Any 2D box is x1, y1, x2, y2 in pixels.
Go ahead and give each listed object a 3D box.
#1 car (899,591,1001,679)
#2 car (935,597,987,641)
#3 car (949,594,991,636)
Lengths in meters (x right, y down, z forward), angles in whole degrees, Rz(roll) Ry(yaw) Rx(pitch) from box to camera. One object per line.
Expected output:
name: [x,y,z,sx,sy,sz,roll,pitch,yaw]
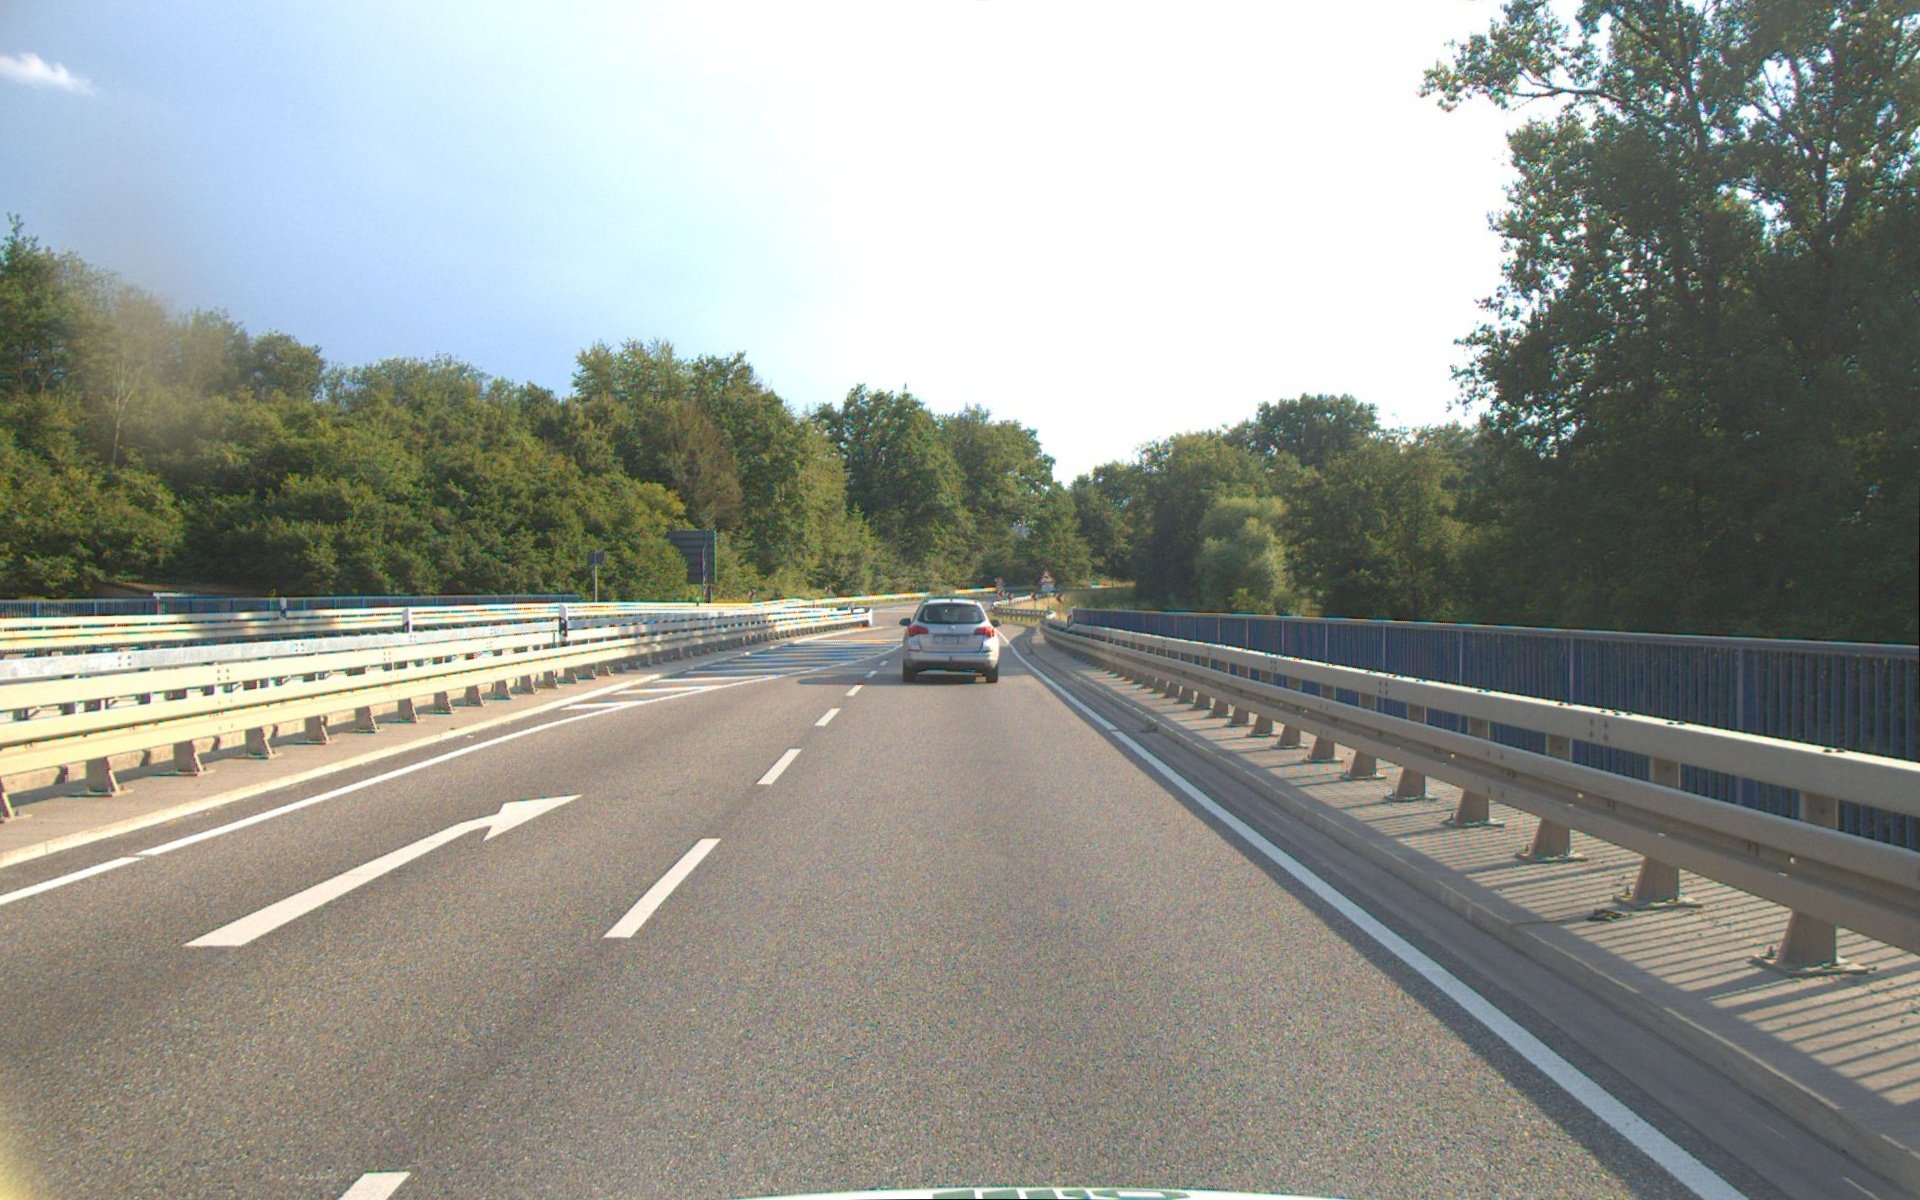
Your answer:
car: [-0.217,0.639,31.046,1.772,1.512,3.999,1,-1,-1]
car: [0.011,0.699,59.656,1.772,1.512,3.999,1,-1,-1]
car: [0.472,0.768,83.492,1.953,2.049,3.998,1,-1,-1]
